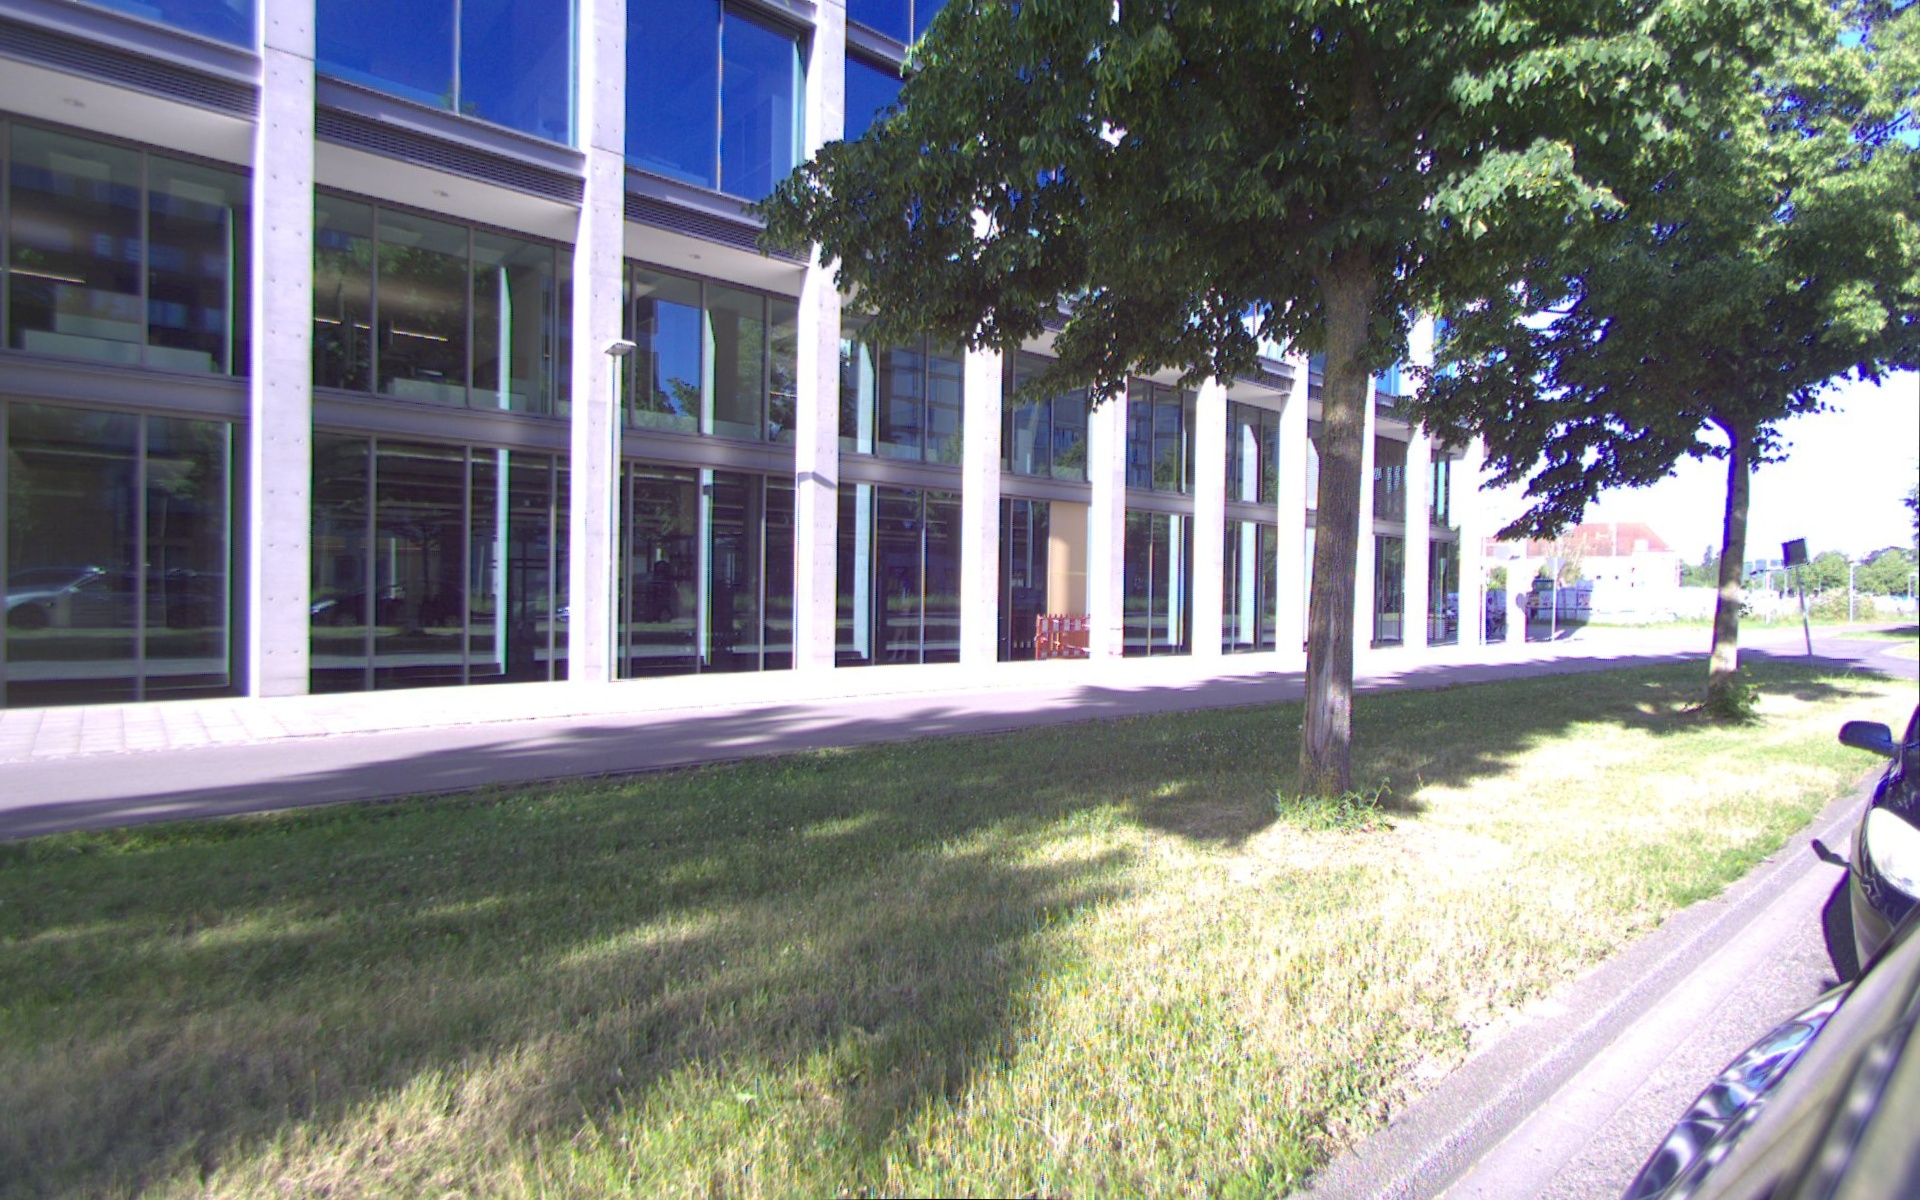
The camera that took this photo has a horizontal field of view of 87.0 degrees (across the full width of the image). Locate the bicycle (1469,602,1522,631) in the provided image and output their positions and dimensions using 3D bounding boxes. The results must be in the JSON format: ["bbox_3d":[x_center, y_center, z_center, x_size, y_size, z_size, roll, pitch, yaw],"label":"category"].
[{"bbox_3d":[23.440,0.715,44.313,0.581,1.170,1.926,1,2,-39],"label":"bicycle"}]

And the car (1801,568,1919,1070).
[{"bbox_3d":[4.948,0.663,3.975,4.403,1.500,1.845,0,1,-41],"label":"car"}]

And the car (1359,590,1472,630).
[{"bbox_3d":[19.509,0.393,43.485,1.963,1.598,3.997,0,1,-38],"label":"car"}]

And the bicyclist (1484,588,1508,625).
[{"bbox_3d":[23.455,0.293,44.297,0.581,1.558,0.699,1,2,-39],"label":"bicyclist"}]
